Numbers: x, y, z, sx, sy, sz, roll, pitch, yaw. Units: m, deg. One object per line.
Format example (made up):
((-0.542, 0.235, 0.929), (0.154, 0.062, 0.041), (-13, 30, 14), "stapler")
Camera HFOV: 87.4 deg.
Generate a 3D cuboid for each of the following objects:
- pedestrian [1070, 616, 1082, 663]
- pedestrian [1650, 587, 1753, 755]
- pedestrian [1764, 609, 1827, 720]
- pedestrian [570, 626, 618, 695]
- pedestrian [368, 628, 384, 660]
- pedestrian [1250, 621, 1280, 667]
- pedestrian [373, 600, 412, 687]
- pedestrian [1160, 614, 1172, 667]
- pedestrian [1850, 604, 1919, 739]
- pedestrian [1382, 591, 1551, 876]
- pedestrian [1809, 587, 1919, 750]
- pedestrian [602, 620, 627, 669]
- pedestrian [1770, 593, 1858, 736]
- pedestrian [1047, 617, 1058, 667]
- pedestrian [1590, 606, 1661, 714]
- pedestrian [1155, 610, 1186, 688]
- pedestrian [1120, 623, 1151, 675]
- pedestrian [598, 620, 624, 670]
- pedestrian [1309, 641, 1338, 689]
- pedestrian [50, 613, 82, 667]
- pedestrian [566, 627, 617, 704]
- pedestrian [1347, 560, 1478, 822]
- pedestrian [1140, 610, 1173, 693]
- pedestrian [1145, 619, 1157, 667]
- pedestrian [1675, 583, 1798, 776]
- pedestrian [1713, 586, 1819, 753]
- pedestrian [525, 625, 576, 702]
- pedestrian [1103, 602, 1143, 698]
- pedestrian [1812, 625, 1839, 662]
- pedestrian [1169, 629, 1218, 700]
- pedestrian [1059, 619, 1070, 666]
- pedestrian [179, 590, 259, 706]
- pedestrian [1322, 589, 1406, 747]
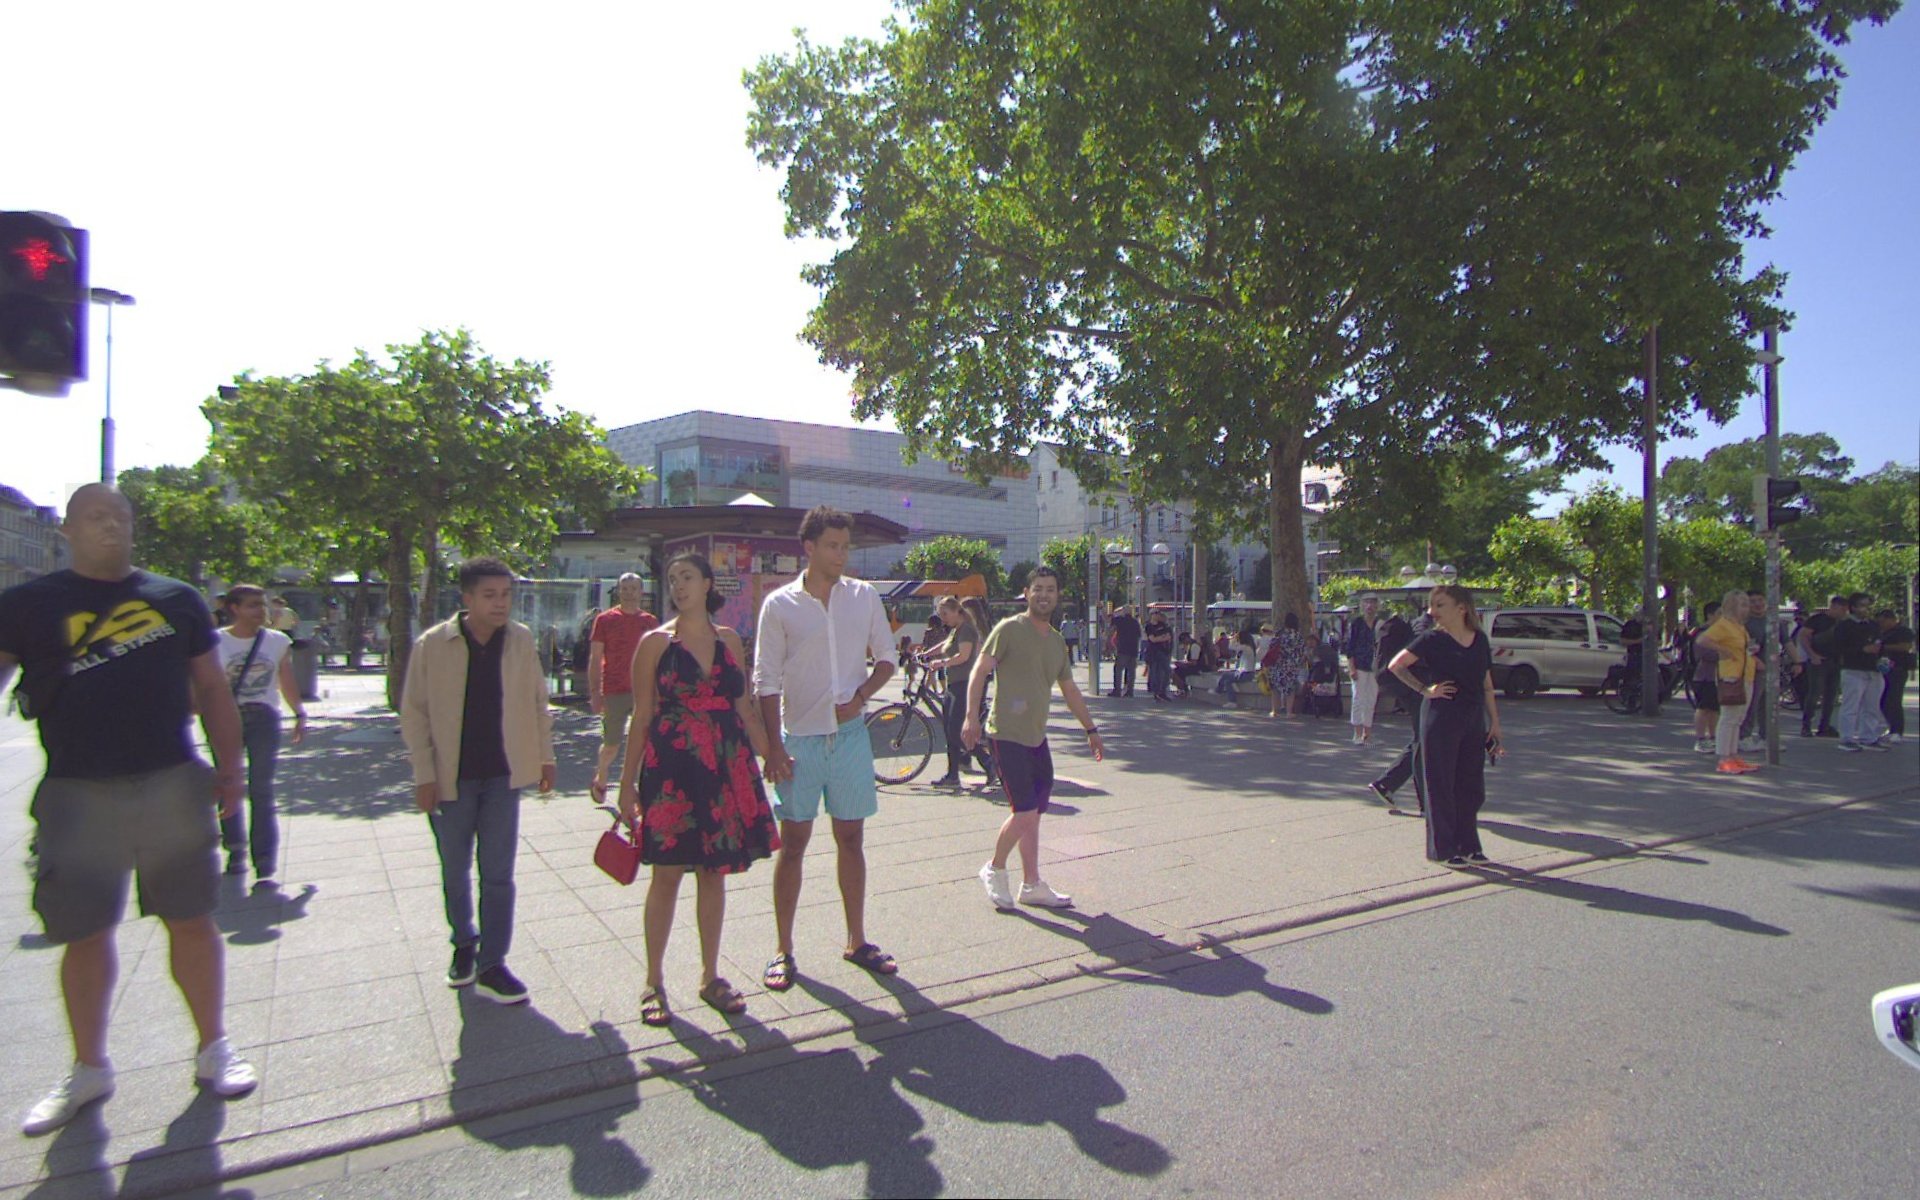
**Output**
((3.968, 1.358, 34.373), (0.374, 1.595, 0.415), (0, -1, 9), "pedestrian")
((8.562, 0.801, 11.620), (0.716, 1.883, 0.634), (0, -1, -1), "pedestrian")
((13.548, 1.025, 16.286), (0.670, 1.747, 0.606), (1, -1, -32), "pedestrian")
((-6.923, 1.128, 19.007), (0.600, 1.279, 0.611), (0, -1, 15), "pedestrian")
((-26.824, 2.023, 46.158), (0.435, 1.484, 0.450), (0, -1, 5), "pedestrian")
((10.485, 1.499, 34.559), (0.724, 1.534, 0.744), (0, -1, -16), "pedestrian")
((-11.887, 0.906, 21.049), (0.601, 1.772, 0.602), (1, -2, -41), "pedestrian")
((6.879, 1.341, 33.587), (0.374, 1.772, 0.415), (0, -1, 9), "pedestrian")
((11.996, 0.907, 12.894), (0.580, 1.690, 0.619), (0, -1, -1), "pedestrian")
((3.038, 0.764, 6.066), (0.674, 1.616, 0.634), (1, -1, -9), "pedestrian")
((10.560, 0.787, 11.756), (0.716, 1.858, 0.634), (0, -1, -1), "pedestrian")
((-12.584, 1.621, 36.584), (0.594, 1.772, 0.747), (0, -1, 9), "pedestrian")
((11.364, 0.847, 13.382), (0.650, 1.848, 0.619), (0, -1, -1), "pedestrian")
((3.162, 1.435, 34.311), (0.374, 1.693, 0.415), (0, -1, 9), "pedestrian")
((11.284, 1.012, 17.038), (0.751, 1.787, 0.680), (0, -1, -1), "pedestrian")
((4.443, 1.045, 21.239), (0.489, 1.624, 0.500), (1, -3, -10), "pedestrian")
((5.203, 1.436, 29.726), (0.598, 1.534, 0.742), (0, -1, -25), "pedestrian")
((-12.339, 1.580, 35.525), (0.594, 1.772, 0.747), (0, -1, 9), "pedestrian")
((12.000, 2.136, 33.170), (0.739, 1.534, 0.600), (0, -1, -37), "pedestrian")
((-27.815, 1.243, 31.251), (0.598, 1.660, 0.571), (1, 0, -25), "pedestrian")
((-6.233, 1.094, 17.018), (0.599, 1.279, 0.613), (0, -1, 6), "pedestrian")
((3.401, 0.662, 7.589), (0.674, 1.883, 0.634), (1, -1, -9), "pedestrian")
((4.041, 1.056, 20.664), (0.516, 1.678, 0.513), (1, -3, -10), "pedestrian")
((6.396, 1.435, 33.583), (0.374, 1.595, 0.415), (0, -1, 9), "pedestrian")
((7.582, 0.755, 9.831), (0.717, 1.818, 0.634), (1, -1, -9), "pedestrian")
((9.343, 0.796, 11.670), (0.716, 1.883, 0.634), (0, -1, -1), "pedestrian")
((-7.019, 1.066, 17.219), (0.602, 1.279, 0.610), (-1, -1, 38), "pedestrian")
((3.168, 0.969, 19.547), (0.604, 1.833, 0.634), (1, -3, -10), "pedestrian")
((40.318, 2.022, 46.784), (0.645, 1.729, 0.710), (1, -1, -15), "pedestrian")
((4.435, 1.220, 19.088), (0.717, 1.310, 0.634), (1, -1, -9), "pedestrian")
((3.578, 1.450, 34.394), (0.374, 1.595, 0.415), (0, -1, 9), "pedestrian")
((-11.686, 0.744, 15.861), (0.788, 1.772, 0.606), (1, 0, 1), "pedestrian")
((4.832, 0.797, 12.049), (0.717, 1.834, 0.634), (1, -1, -9), "pedestrian")
